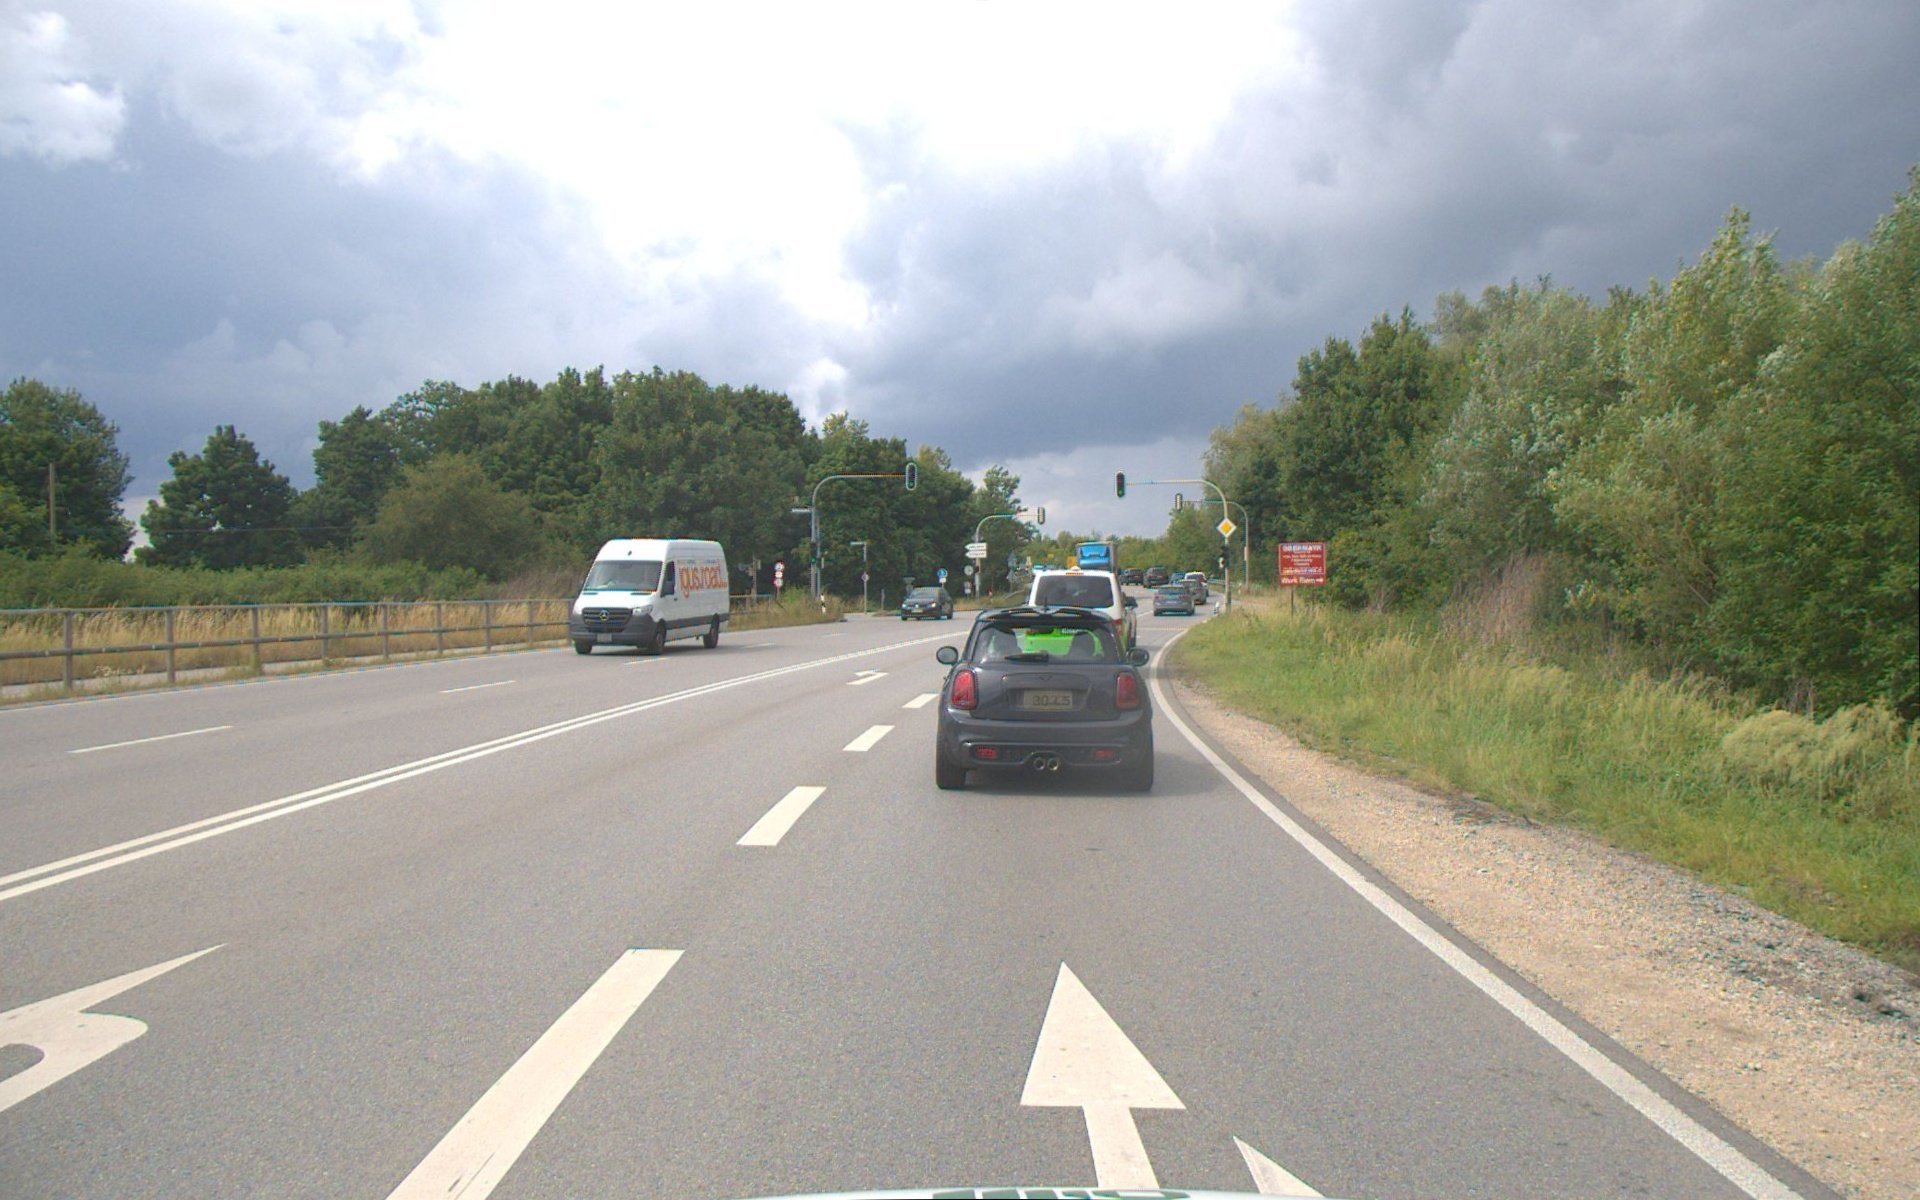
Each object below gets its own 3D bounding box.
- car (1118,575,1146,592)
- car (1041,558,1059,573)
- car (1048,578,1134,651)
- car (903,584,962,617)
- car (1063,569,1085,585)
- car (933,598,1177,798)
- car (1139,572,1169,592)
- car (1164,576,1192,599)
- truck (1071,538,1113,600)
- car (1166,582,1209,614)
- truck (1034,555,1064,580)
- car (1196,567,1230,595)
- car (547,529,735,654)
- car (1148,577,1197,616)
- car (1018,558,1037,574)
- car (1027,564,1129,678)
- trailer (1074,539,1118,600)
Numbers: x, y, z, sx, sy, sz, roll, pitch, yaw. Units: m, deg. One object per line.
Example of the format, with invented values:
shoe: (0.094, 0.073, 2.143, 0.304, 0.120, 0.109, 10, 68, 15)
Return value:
car: (17.491, -1.654, 168.158, 1.955, 1.725, 4.480, 0, 0, -6)
car: (12.958, -5.004, 239.404, 2.137, 2.049, 3.996, 1, -1, -4)
car: (3.296, 0.363, 40.975, 1.951, 1.713, 4.003, 0, -1, 7)
car: (-1.203, 0.014, 74.206, 1.904, 1.466, 4.004, 0, 0, 10)
car: (13.824, -2.782, 200.071, 1.955, 1.818, 4.480, 0, 1, -6)
car: (0.711, 0.729, 14.257, 1.807, 1.453, 3.841, 1, 0, 0)
car: (17.663, -1.635, 151.103, 1.954, 1.725, 4.482, 0, 0, -4)
car: (17.683, -0.973, 134.314, 1.952, 1.713, 4.001, 1, -1, 3)
truck: (9.111, -2.085, 113.701, 2.485, 4.168, 4.004, 0, 0, 10)
car: (13.205, -0.082, 95.988, 1.951, 1.713, 3.980, 1, -1, 15)
truck: (11.706, -4.264, 218.471, 2.664, 2.948, 8.759, 1, -1, -6)
car: (17.315, -1.297, 113.111, 1.951, 1.713, 4.003, 1, -1, 14)
car: (-7.475, -0.198, 39.678, 2.382, 2.721, 6.893, 0, 0, 7)
car: (10.091, -0.137, 78.387, 1.951, 1.713, 4.003, 1, -1, 12)
car: (7.958, -4.000, 194.282, 1.953, 1.719, 4.000, -1, 2, -1)
car: (2.278, 0.339, 31.510, 1.806, 2.021, 3.844, 0, 1, 5)
trailer: (9.649, -2.099, 116.675, 2.473, 4.172, 6.741, 0, 0, 10)
